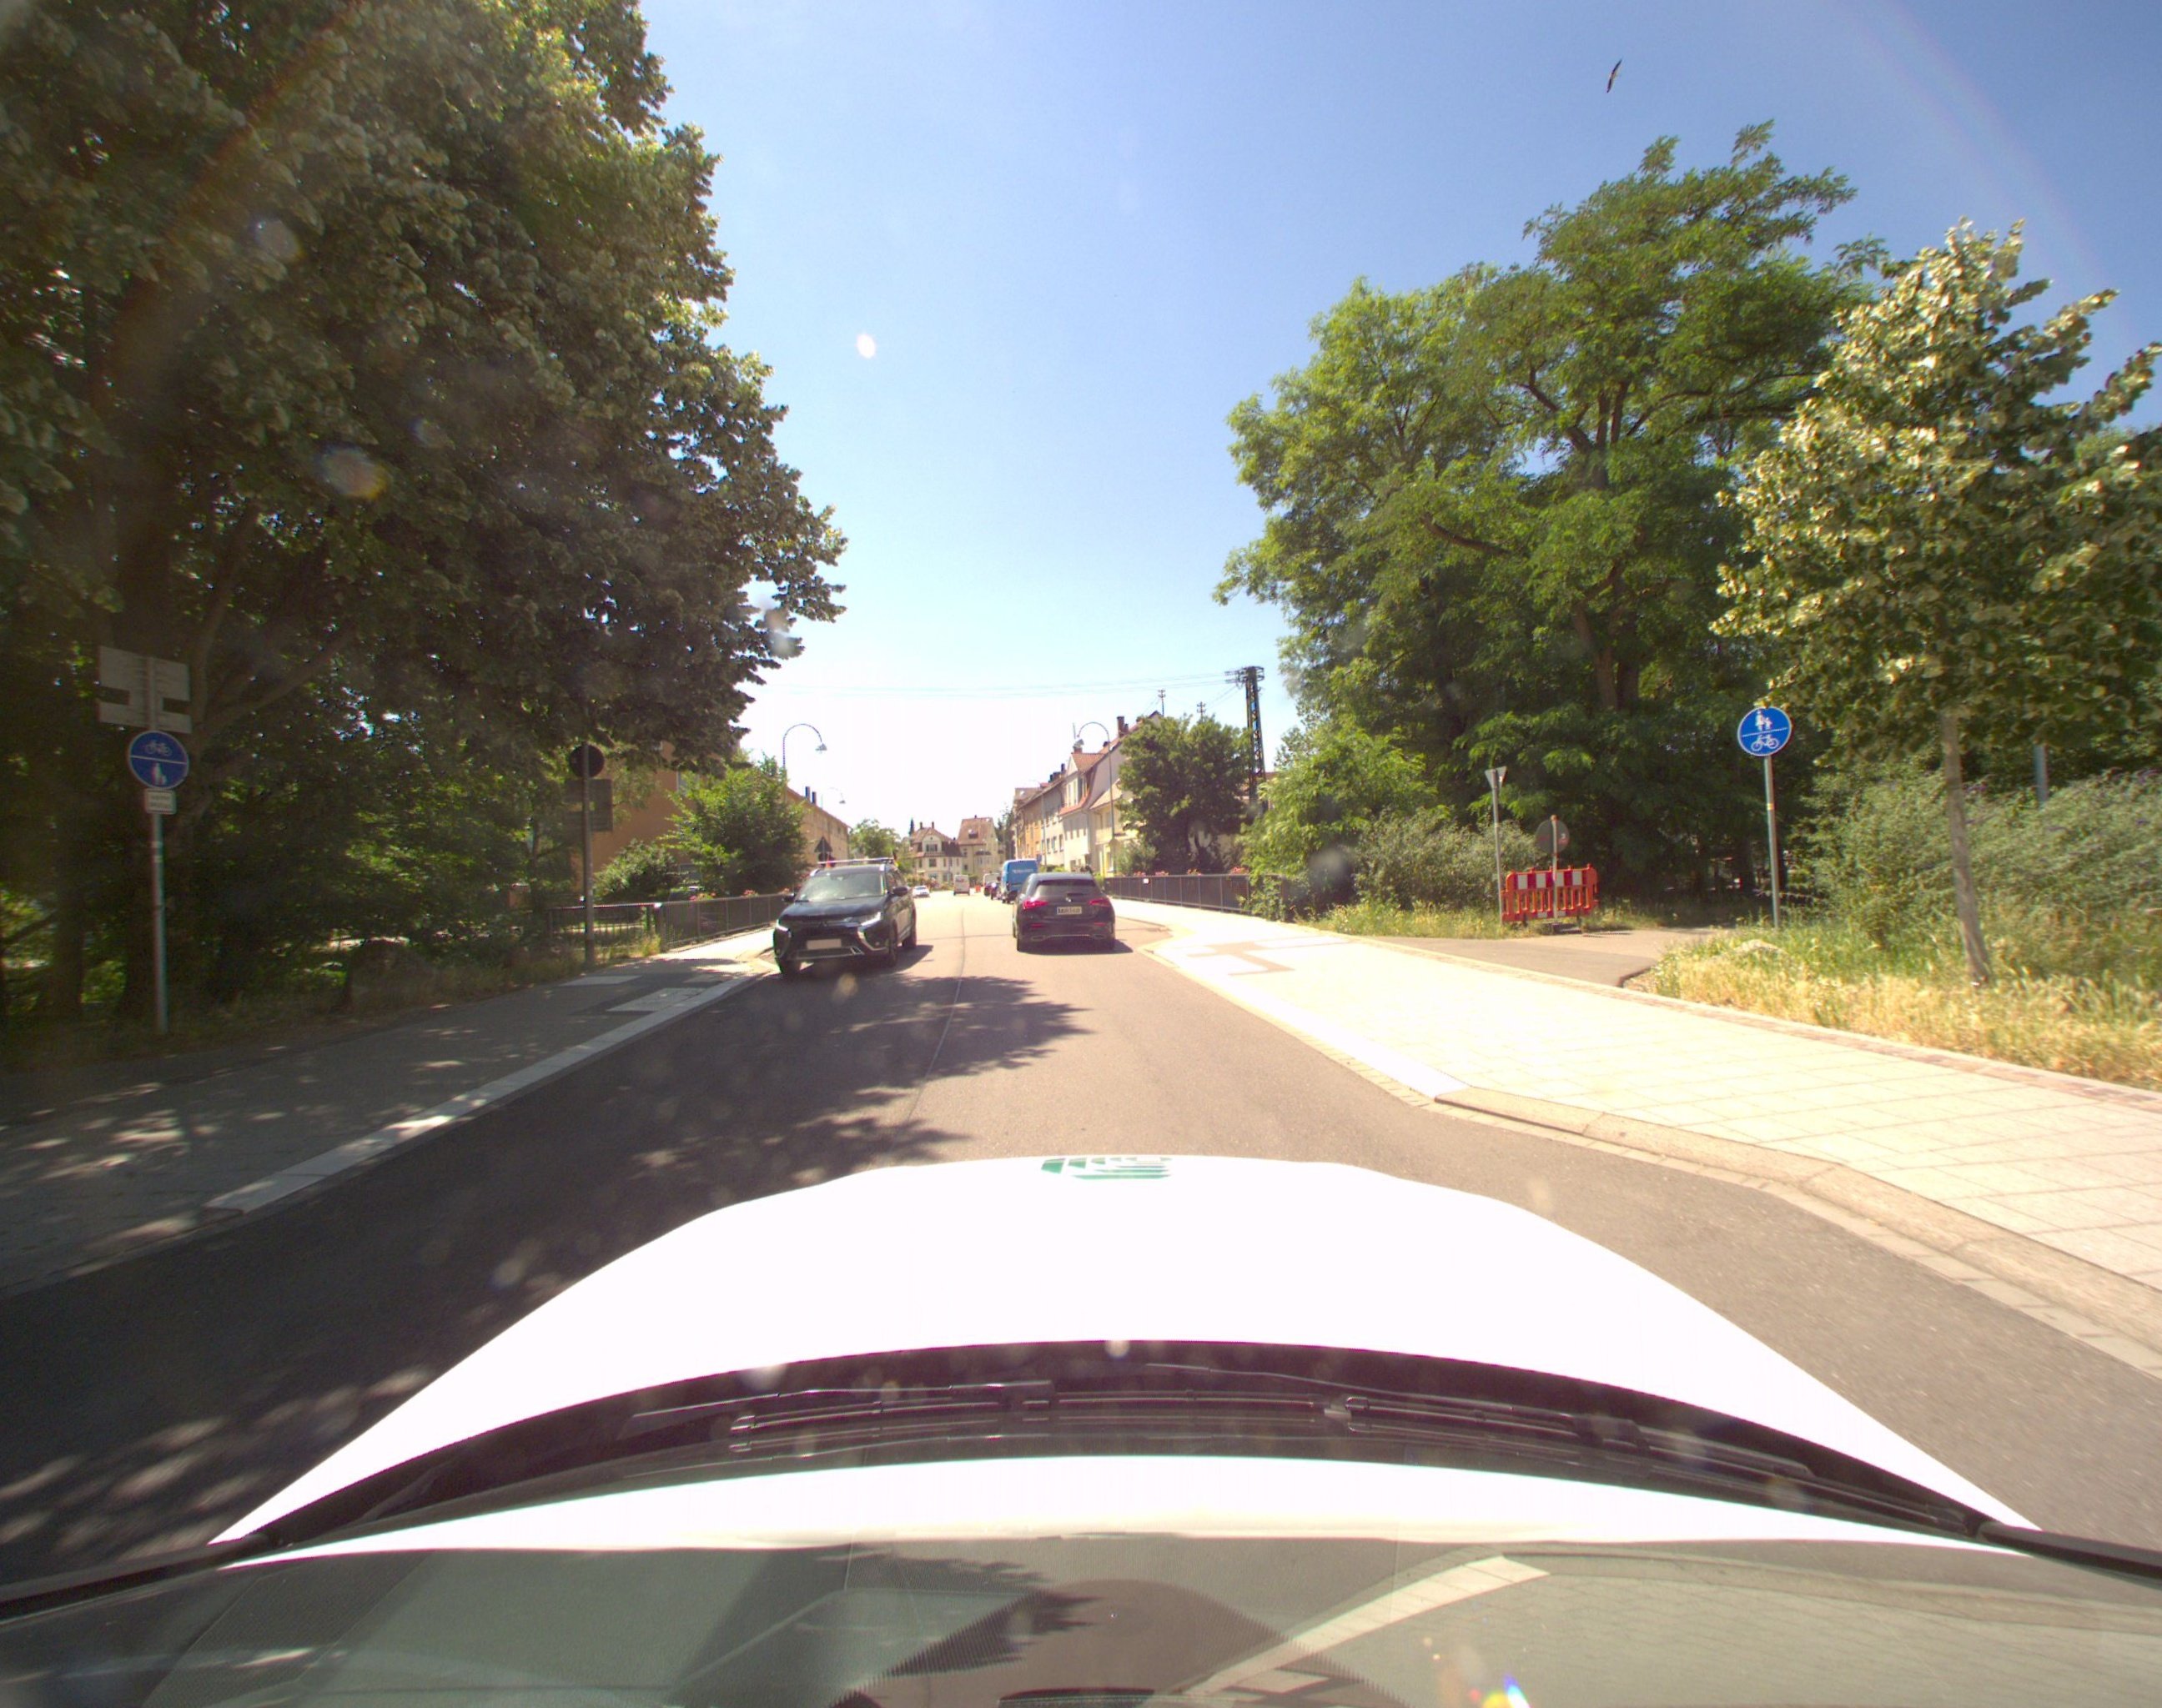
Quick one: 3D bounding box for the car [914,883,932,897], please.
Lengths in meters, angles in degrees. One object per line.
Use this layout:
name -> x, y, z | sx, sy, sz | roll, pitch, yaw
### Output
car -> -19.328, 4.409, 99.905 | 1.993, 1.660, 3.987 | 0, -2, -9

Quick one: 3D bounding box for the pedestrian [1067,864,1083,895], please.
pedestrian -> -0.323, 1.394, 44.459 | 0.615, 1.613, 0.833 | -2, -2, -14

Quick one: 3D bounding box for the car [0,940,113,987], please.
car -> -48.336, 5.100, 38.468 | 2.005, 1.684, 3.963 | -2, -1, -28

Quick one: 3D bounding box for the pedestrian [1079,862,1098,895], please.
pedestrian -> 0.395, 1.301, 43.622 | 0.664, 1.741, 0.696 | -2, -2, -27

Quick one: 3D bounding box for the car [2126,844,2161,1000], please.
car -> 11.583, 0.544, 7.144 | 4.205, 1.350, 1.847 | -1, -2, -22

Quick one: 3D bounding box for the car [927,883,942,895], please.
car -> -20.507, 4.901, 113.801 | 1.993, 1.660, 3.987 | 0, -2, -9

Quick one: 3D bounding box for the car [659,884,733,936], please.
car -> -17.197, 2.447, 36.577 | 1.995, 2.013, 3.984 | -2, 0, -12

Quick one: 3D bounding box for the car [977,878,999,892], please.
car -> -10.126, 3.365, 88.412 | 1.994, 1.392, 4.314 | -2, 0, -10

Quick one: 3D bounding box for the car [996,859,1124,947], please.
car -> -0.559, 0.982, 16.108 | 1.829, 1.442, 3.983 | -2, -4, -11

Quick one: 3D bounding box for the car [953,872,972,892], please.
car -> -14.906, 3.448, 102.023 | 2.244, 2.343, 4.836 | -2, 0, -10

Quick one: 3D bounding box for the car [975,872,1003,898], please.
car -> -7.651, 2.540, 67.331 | 1.994, 2.013, 3.986 | -2, 0, -10

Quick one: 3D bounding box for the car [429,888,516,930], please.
car -> -32.696, 2.908, 43.915 | 1.992, 2.014, 3.989 | -2, -1, -8

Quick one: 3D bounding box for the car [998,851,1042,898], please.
car -> -3.621, 1.215, 47.901 | 2.132, 2.541, 4.634 | -2, -2, -9

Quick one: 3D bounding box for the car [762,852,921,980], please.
car -> -3.978, 0.945, 14.270 | 1.738, 1.772, 4.329 | -4, -1, -5
